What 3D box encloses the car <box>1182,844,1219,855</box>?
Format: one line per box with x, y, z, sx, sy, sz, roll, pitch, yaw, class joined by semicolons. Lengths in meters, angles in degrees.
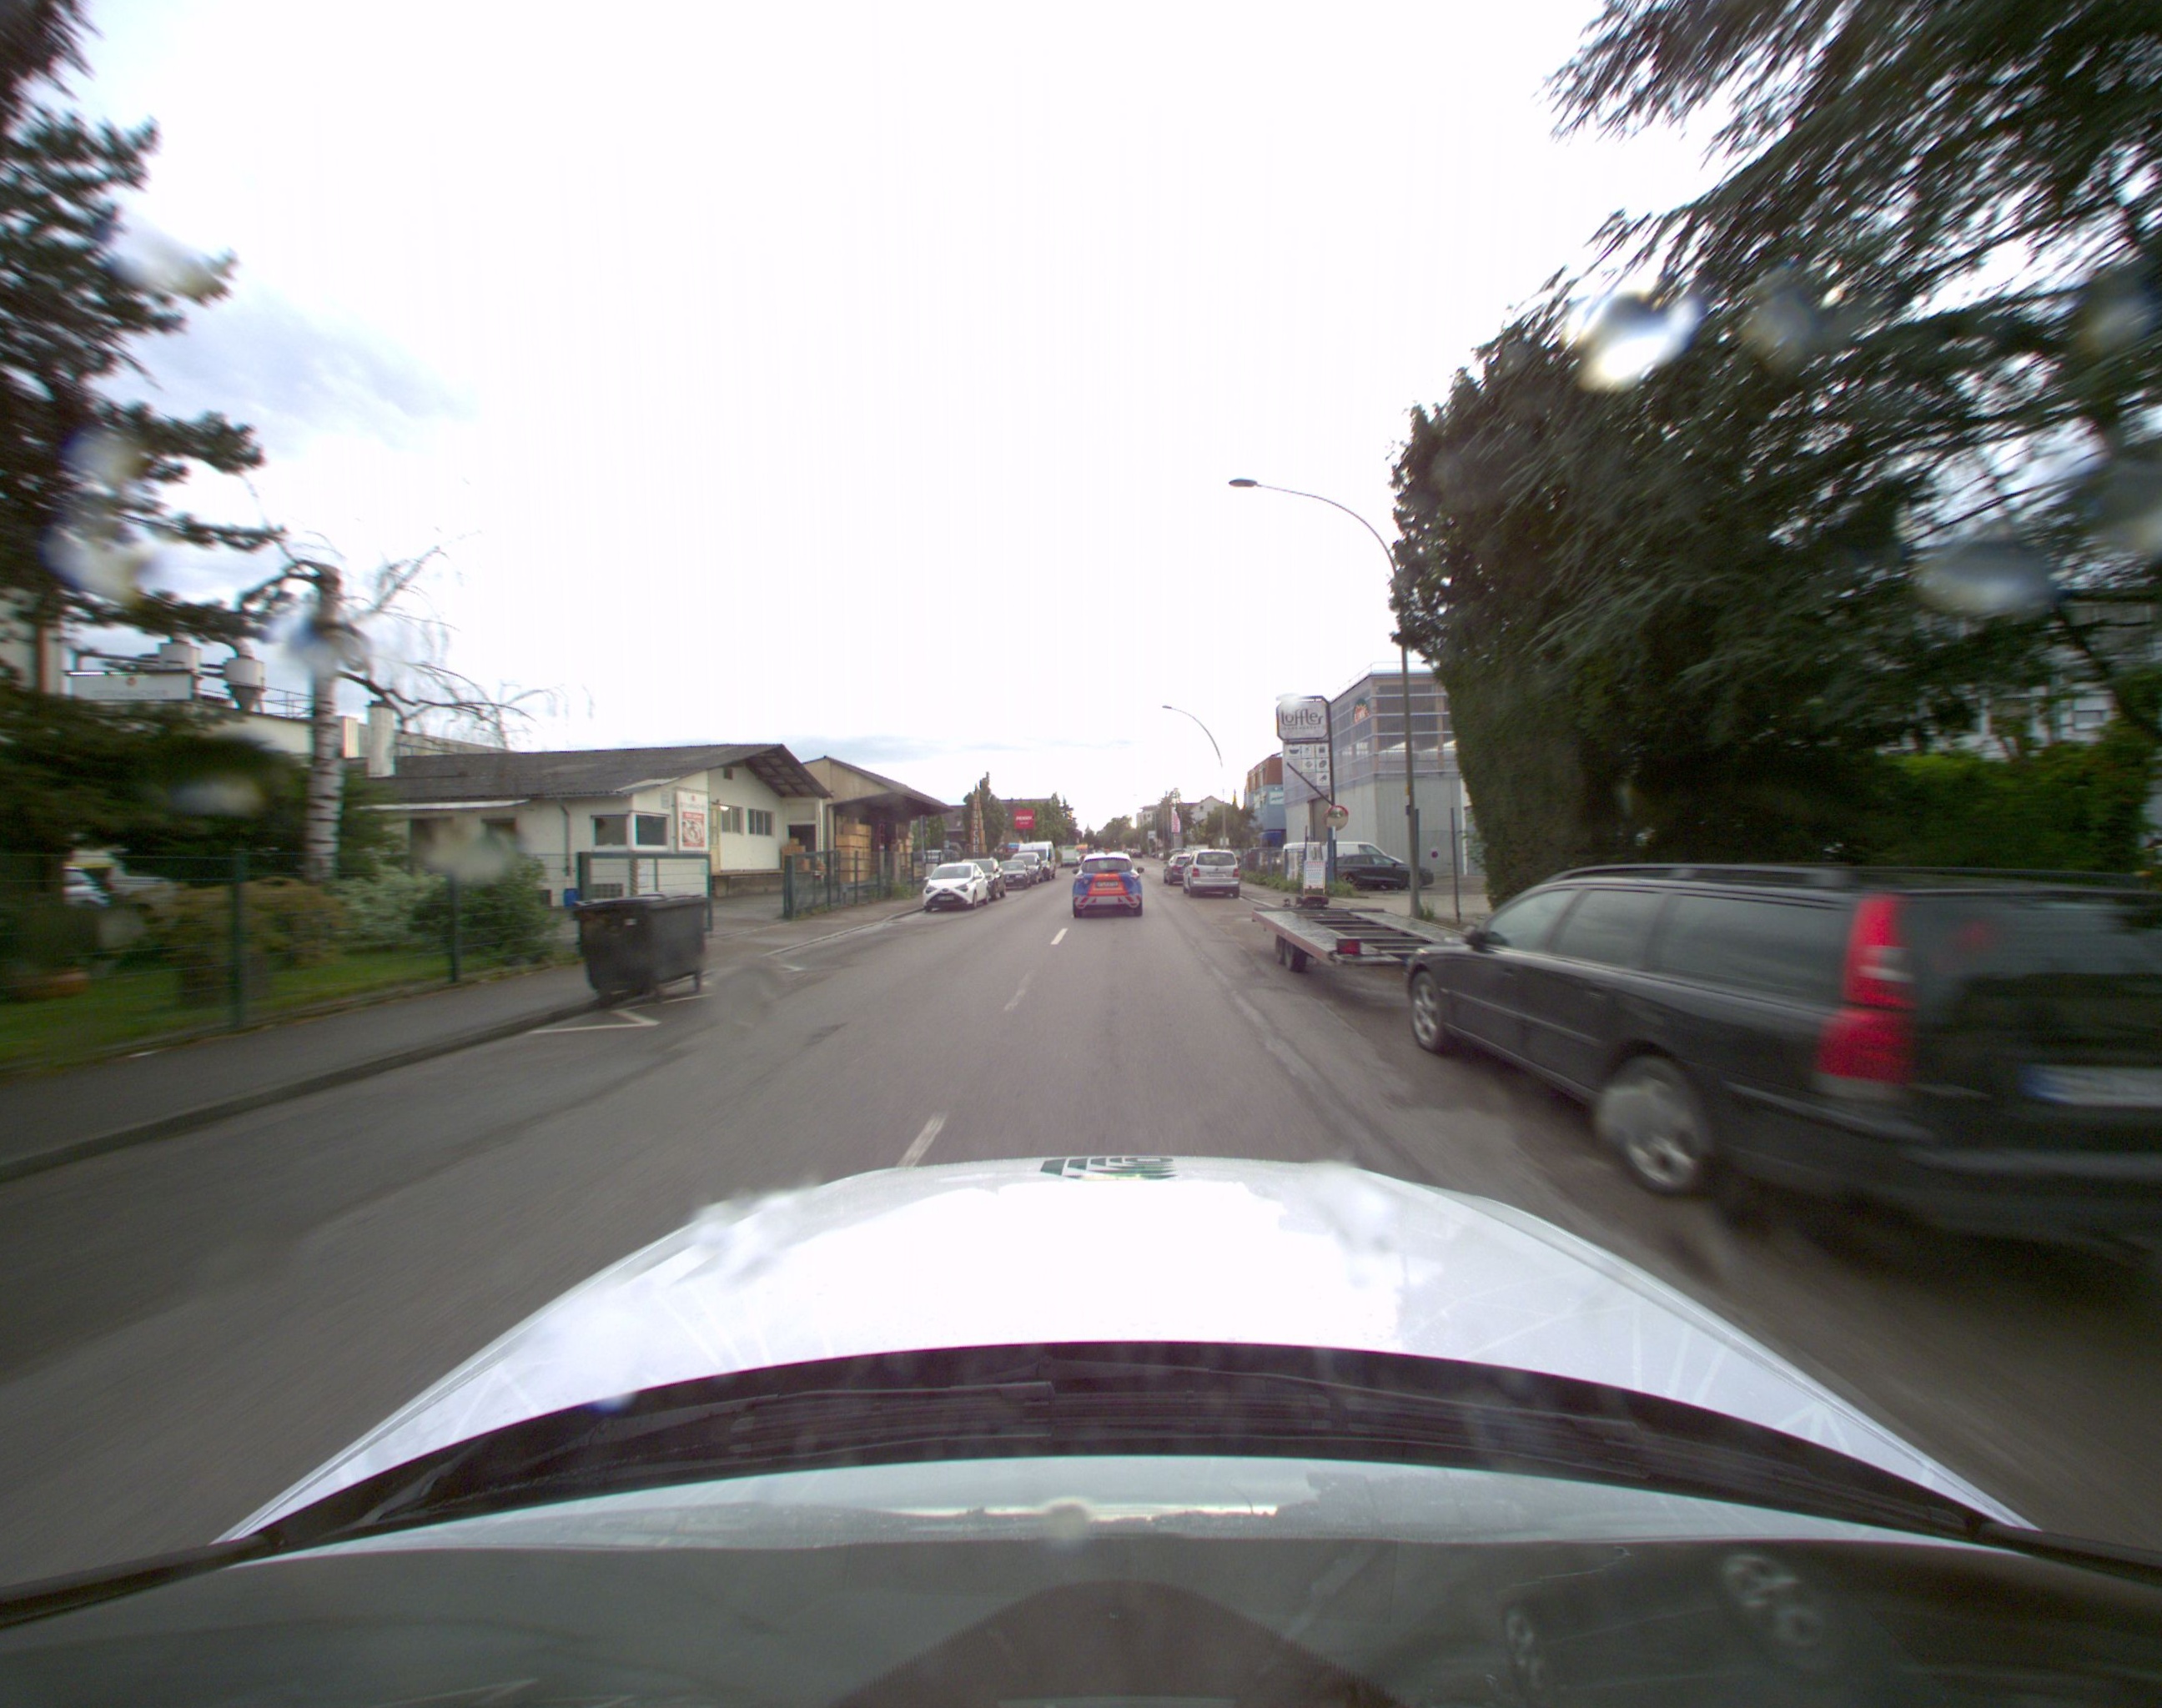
14.827;-0.585;101.329;4.399;1.393;1.880;0;0;1;car

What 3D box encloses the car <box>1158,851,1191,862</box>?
12.883;0.288;111.966;4.322;1.475;1.903;0;0;1;car

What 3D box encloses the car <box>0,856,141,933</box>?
-23.014;0.821;17.397;3.968;1.552;1.787;0;0;4;car

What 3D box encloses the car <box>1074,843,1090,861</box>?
0.143;-0.295;120.264;2.117;2.537;6.023;-2;0;1;car

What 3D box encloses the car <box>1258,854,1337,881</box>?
12.629;0.787;47.705;4.226;1.536;1.812;1;0;2;car

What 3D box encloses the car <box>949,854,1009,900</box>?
-3.900;0.859;31.615;1.655;1.584;3.918;-3;0;2;car

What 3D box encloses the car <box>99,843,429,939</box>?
-16.707;0.715;16.828;4.976;1.857;2.002;0;0;4;car

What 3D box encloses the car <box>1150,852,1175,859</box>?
13.685;0.275;136.807;3.973;1.266;1.951;0;0;0;car

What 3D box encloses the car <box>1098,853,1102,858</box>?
5.921;0.504;255.590;1.381;1.483;3.784;-1;0;1;car

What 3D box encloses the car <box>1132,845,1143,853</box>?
9.879;-0.820;142.378;1.584;1.341;4.093;-1;0;1;car

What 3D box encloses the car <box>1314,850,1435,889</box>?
11.500;0.599;32.109;4.087;1.457;2.001;0;0;2;car

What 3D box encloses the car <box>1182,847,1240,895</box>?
4.619;0.575;29.394;1.731;1.621;4.378;0;0;4;car

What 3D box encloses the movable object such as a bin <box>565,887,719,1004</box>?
-5.420;1.091;10.182;1.096;1.310;1.426;0;0;2;movable object such as a bin

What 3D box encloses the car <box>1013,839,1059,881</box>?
-2.846;0.386;53.105;2.149;2.427;6.463;-4;0;2;car

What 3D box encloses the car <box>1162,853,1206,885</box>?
4.895;0.679;39.244;1.732;1.466;4.548;0;0;2;car

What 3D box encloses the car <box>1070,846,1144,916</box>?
0.667;0.662;21.138;1.725;1.631;3.496;-1;0;2;car

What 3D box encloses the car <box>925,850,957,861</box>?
-18.825;0.222;109.891;4.044;1.551;1.884;0;0;-3;car

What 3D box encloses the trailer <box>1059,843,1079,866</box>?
-1.316;0.053;90.369;1.806;2.314;4.732;-3;0;2;trailer

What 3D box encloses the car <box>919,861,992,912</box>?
-4.045;1.014;26.790;1.610;1.509;3.663;-2;0;3;car

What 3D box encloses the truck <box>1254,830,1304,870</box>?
19.189;-0.391;79.205;4.131;3.673;2.719;2;0;0;truck

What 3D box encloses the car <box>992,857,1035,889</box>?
-3.325;0.916;40.871;1.655;1.448;4.318;-3;0;1;car

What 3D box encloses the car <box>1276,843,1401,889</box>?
10.869;0.485;34.640;4.713;1.886;2.001;0;0;2;car

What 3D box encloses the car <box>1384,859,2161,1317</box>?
3.421;0.767;4.934;1.732;1.433;4.654;1;0;4;car

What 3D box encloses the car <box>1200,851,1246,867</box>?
13.161;0.461;75.504;3.973;1.430;1.631;-1;0;0;car

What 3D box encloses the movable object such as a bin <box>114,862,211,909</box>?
-28.363;0.949;25.179;1.276;1.387;1.487;0;0;0;movable object such as a bin

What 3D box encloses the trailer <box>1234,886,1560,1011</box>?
3.678;1.048;11.203;2.165;0.897;6.640;0;0;2;trailer

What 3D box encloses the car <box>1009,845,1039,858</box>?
-8.487;-0.340;121.810;4.289;2.014;2.064;0;0;2;car

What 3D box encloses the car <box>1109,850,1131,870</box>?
3.047;0.490;64.368;1.644;1.521;4.000;0;0;1;car

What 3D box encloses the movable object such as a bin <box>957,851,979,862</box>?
-18.213;0.385;131.260;3.415;1.759;1.997;0;0;-4;movable object such as a bin

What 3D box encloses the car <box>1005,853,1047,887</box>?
-3.128;0.904;47.312;1.762;1.768;4.449;-5;-1;3;car
